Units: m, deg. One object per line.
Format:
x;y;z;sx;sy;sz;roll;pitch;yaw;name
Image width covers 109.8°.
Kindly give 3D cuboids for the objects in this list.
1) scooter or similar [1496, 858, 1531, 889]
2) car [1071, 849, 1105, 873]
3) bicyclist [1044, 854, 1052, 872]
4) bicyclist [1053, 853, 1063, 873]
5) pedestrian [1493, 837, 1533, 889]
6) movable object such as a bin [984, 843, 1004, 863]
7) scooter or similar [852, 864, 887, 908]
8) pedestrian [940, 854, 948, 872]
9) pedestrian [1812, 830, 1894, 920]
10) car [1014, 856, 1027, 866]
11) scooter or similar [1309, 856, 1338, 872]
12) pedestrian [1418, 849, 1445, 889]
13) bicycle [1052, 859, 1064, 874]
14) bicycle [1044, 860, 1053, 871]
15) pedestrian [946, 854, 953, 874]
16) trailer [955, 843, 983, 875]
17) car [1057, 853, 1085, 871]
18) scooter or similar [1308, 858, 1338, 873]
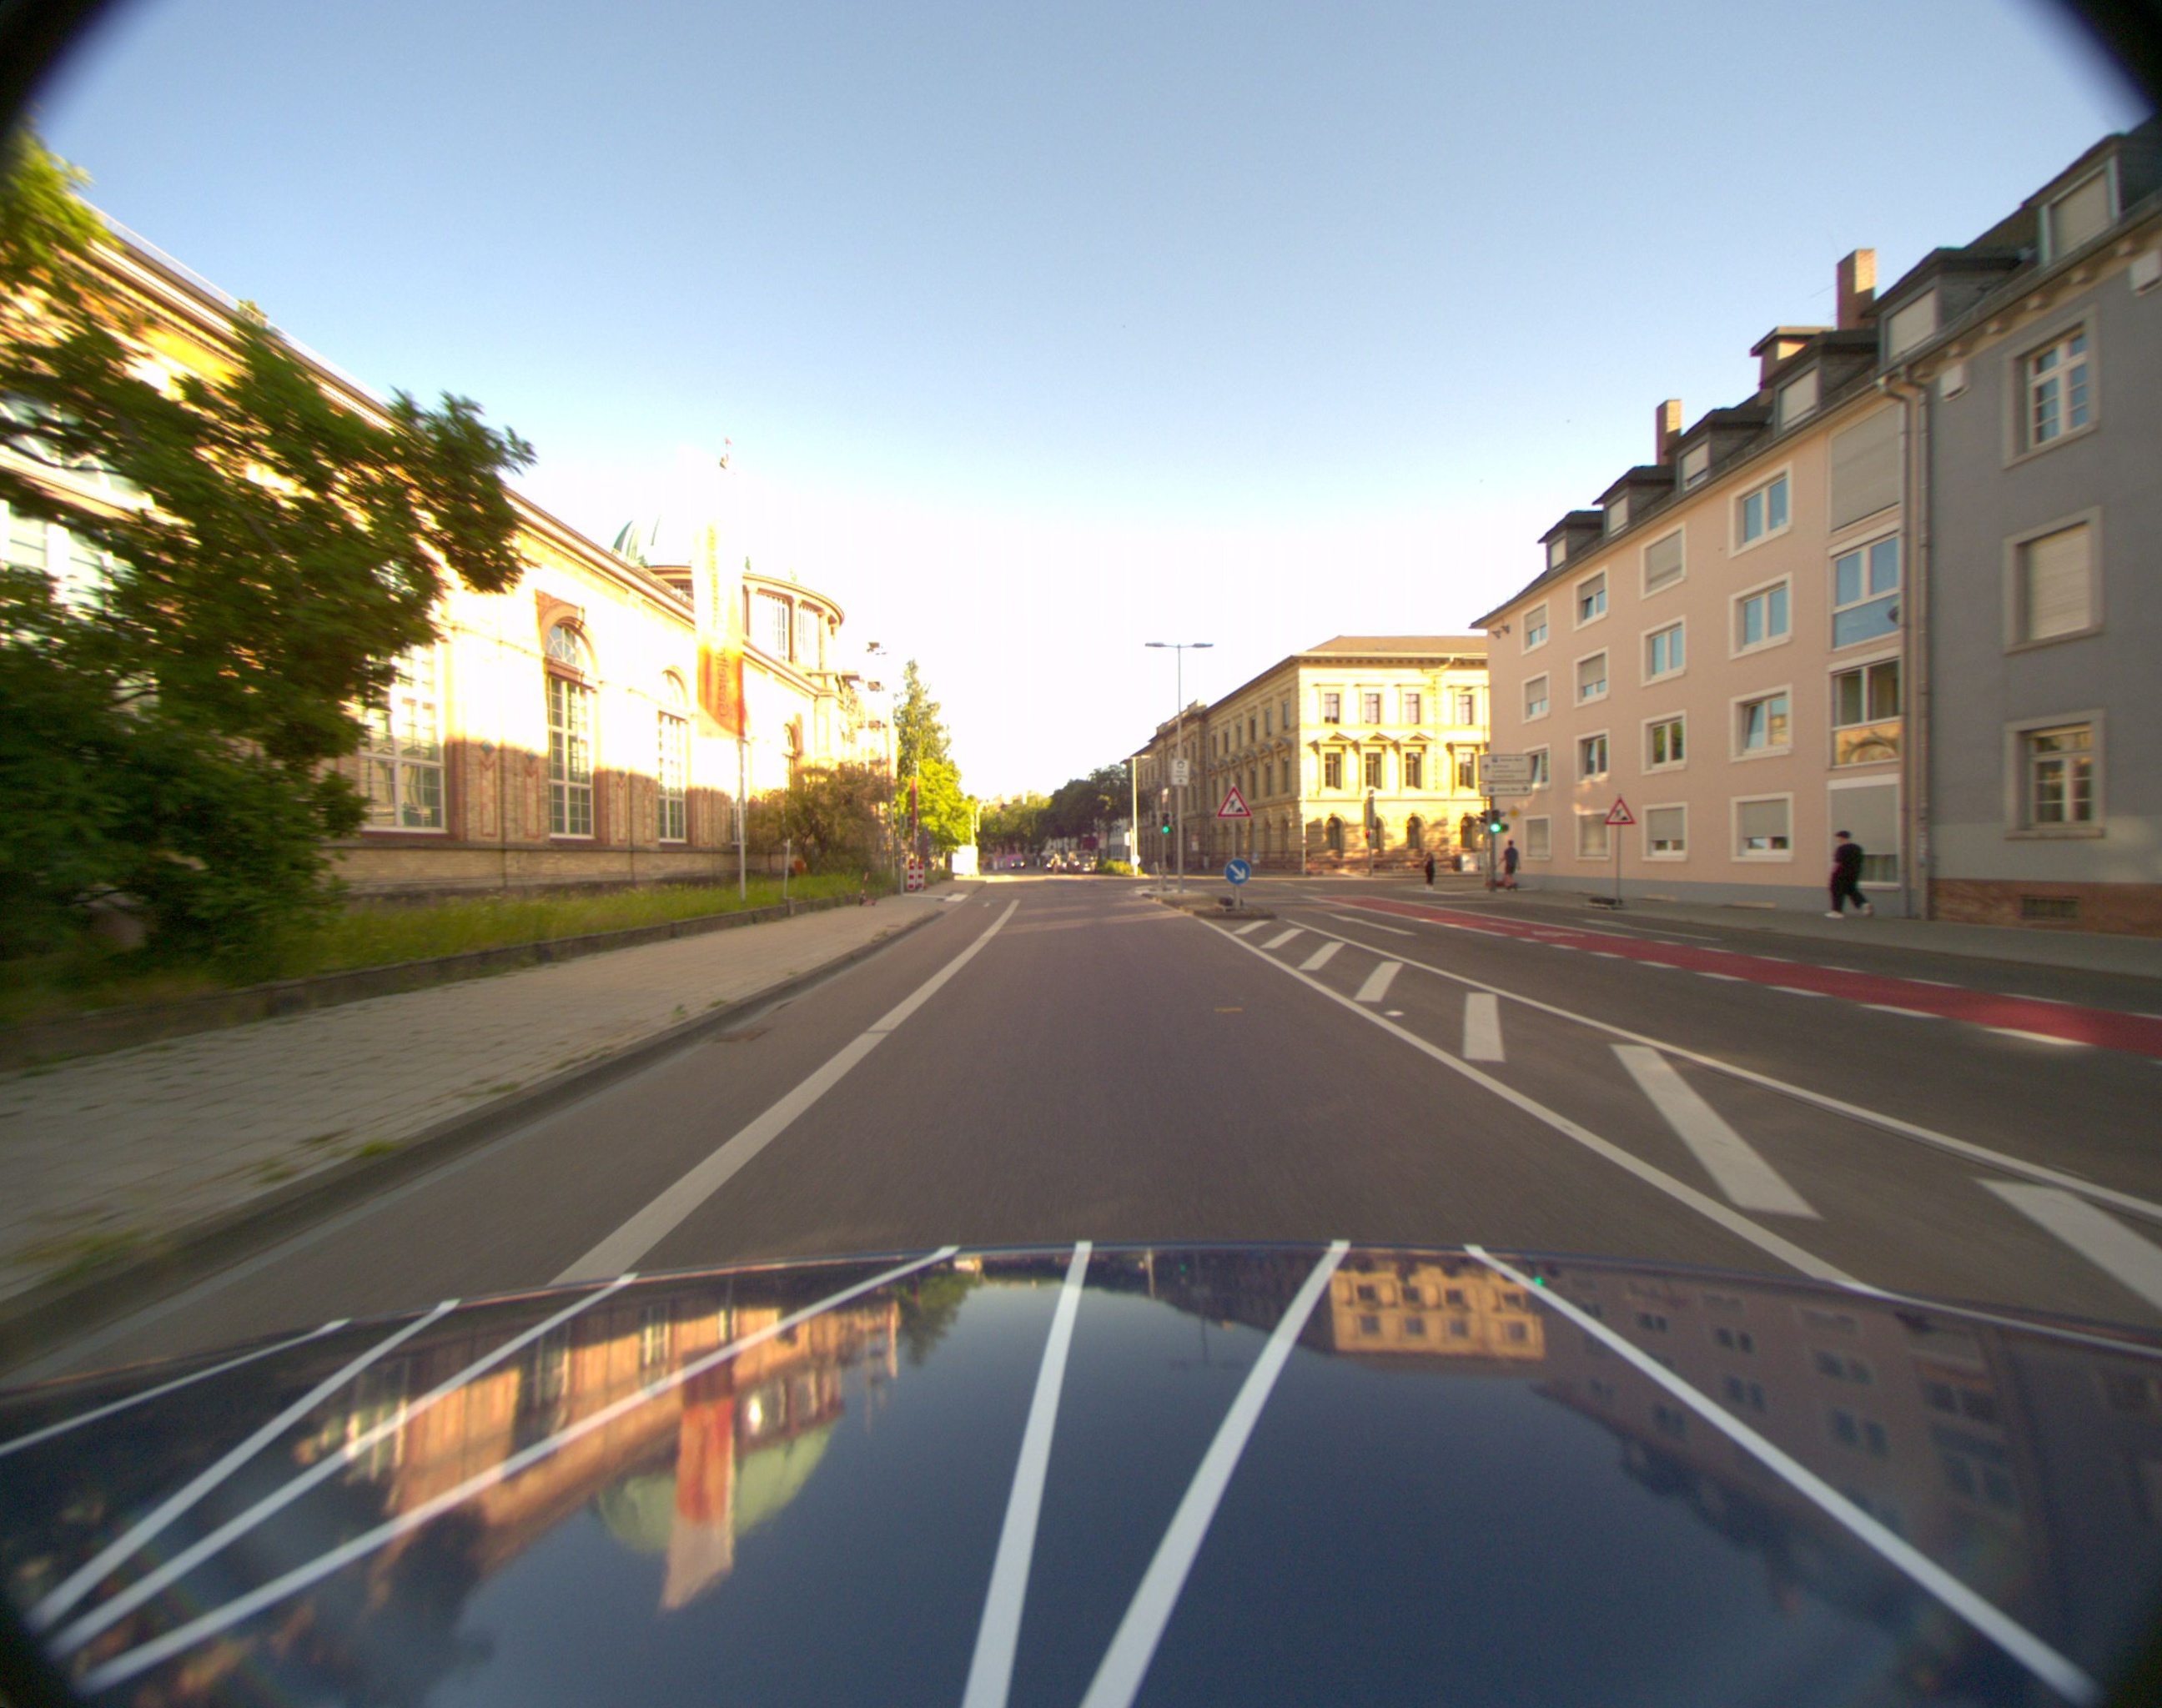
17.024;0.744;29.949;0.534;1.178;1.474;-2;0;2;scooter or similar
0.533;0.510;63.257;2.075;1.904;5.029;-1;1;-8;car
-3.164;0.846;72.660;0.674;1.643;0.887;-2;1;-7;bicyclist
-1.902;0.736;63.022;0.805;1.599;0.824;-1;1;-5;bicyclist
16.221;0.329;28.545;0.870;1.852;1.015;-3;0;2;pedestrian
-14.905;-0.175;129.622;3.173;3.281;4.381;0;0;-11;movable object such as a bin
-6.616;0.980;23.851;0.557;1.301;1.832;-1;0;0;scooter or similar
-13.215;0.858;73.283;0.684;1.691;0.693;0;0;-8;pedestrian
16.374;0.433;16.142;0.633;1.835;1.013;-4;1;1;pedestrian
-8.284;0.912;104.323;1.553;1.288;3.637;2;0;-2;car
17.720;0.736;55.502;2.029;1.181;0.457;-1;0;22;scooter or similar
14.539;0.620;31.544;0.633;1.574;0.818;-4;1;0;pedestrian
-1.916;1.012;63.008;0.831;1.136;1.969;-2;0;-5;bicycle
-3.095;1.092;72.741;0.671;1.066;1.752;-2;0;-6;bicycle
-12.953;0.992;74.765;0.717;1.883;0.889;0;0;-10;pedestrian
-9.285;0.409;63.273;2.086;2.513;4.489;1;0;-6;trailer
-1.048;0.750;74.674;1.998;1.739;4.743;-1;0;-10;car
17.982;0.856;56.473;2.033;1.046;0.456;-1;0;-3;scooter or similar
